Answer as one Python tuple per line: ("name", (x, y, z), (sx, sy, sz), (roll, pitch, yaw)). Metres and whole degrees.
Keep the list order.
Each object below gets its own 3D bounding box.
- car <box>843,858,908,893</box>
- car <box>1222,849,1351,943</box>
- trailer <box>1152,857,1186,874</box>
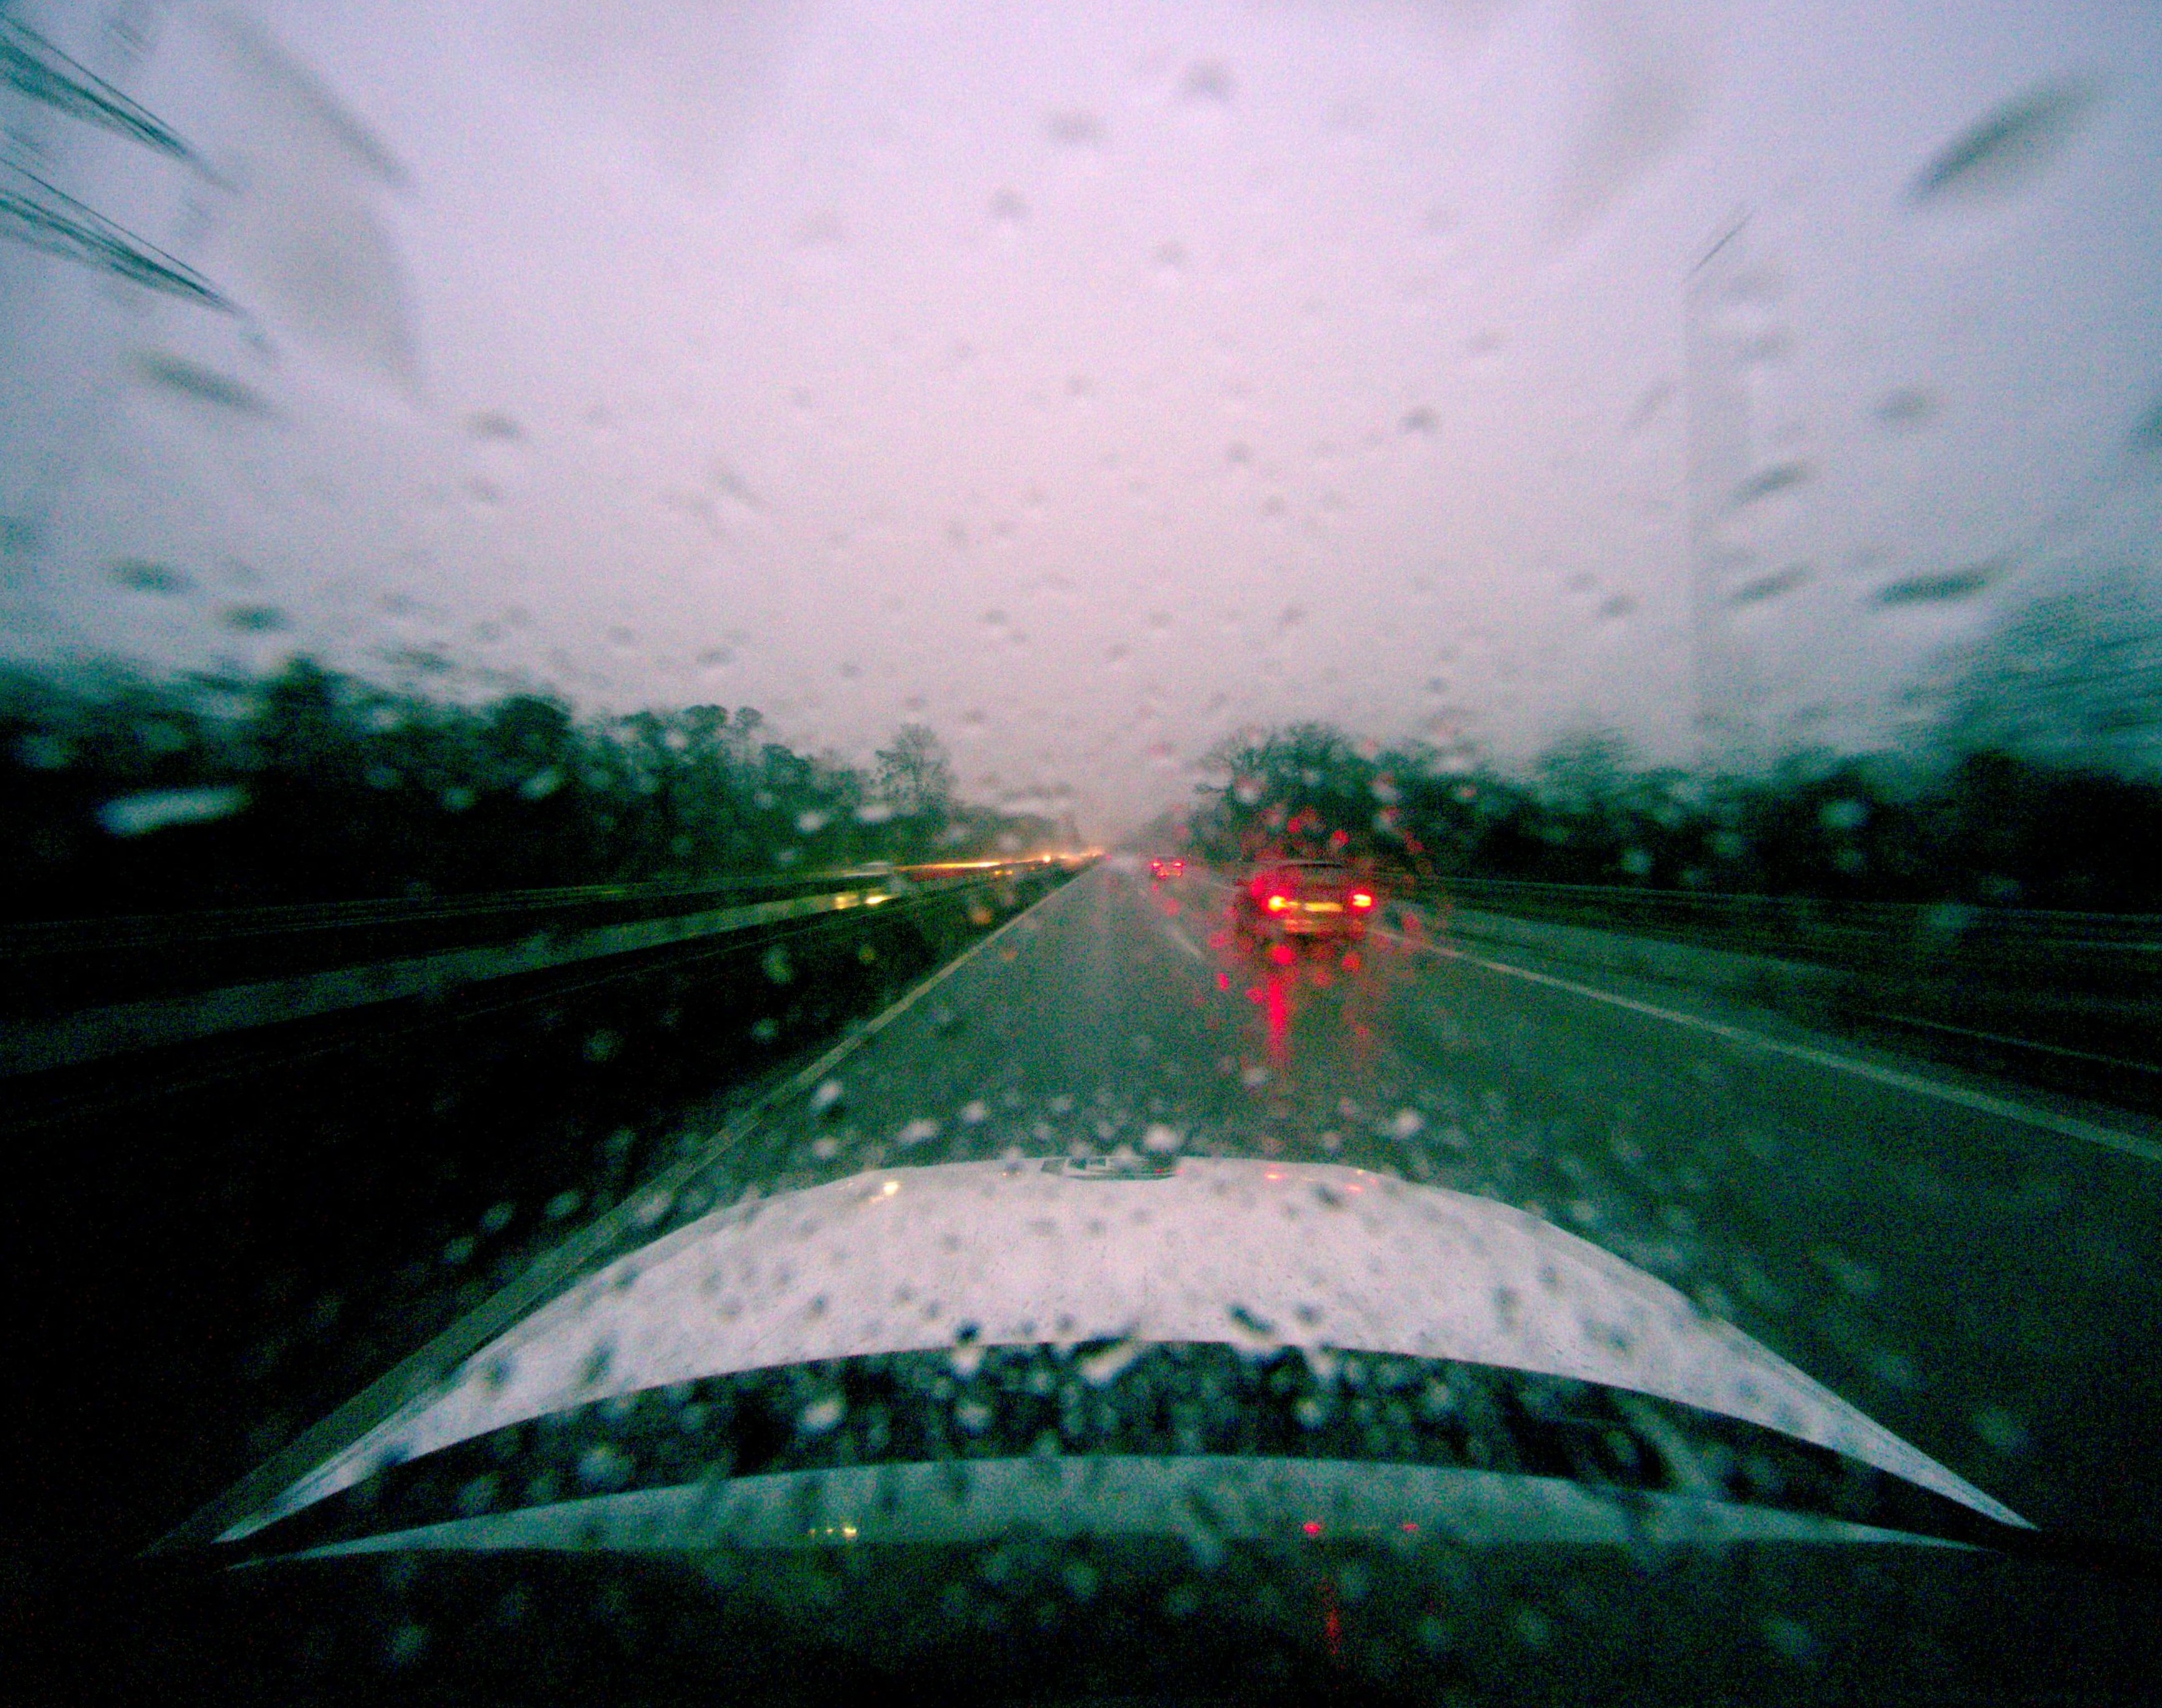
("car", (-9.915, 0.998, 39.718), (1.790, 1.571, 4.756), (-1, 0, 2))
("car", (3.640, 0.682, 15.004), (1.588, 1.491, 3.596), (-1, 0, 2))
("trailer", (5.102, 0.651, 47.570), (1.741, 0.925, 2.953), (-3, 0, 2))
